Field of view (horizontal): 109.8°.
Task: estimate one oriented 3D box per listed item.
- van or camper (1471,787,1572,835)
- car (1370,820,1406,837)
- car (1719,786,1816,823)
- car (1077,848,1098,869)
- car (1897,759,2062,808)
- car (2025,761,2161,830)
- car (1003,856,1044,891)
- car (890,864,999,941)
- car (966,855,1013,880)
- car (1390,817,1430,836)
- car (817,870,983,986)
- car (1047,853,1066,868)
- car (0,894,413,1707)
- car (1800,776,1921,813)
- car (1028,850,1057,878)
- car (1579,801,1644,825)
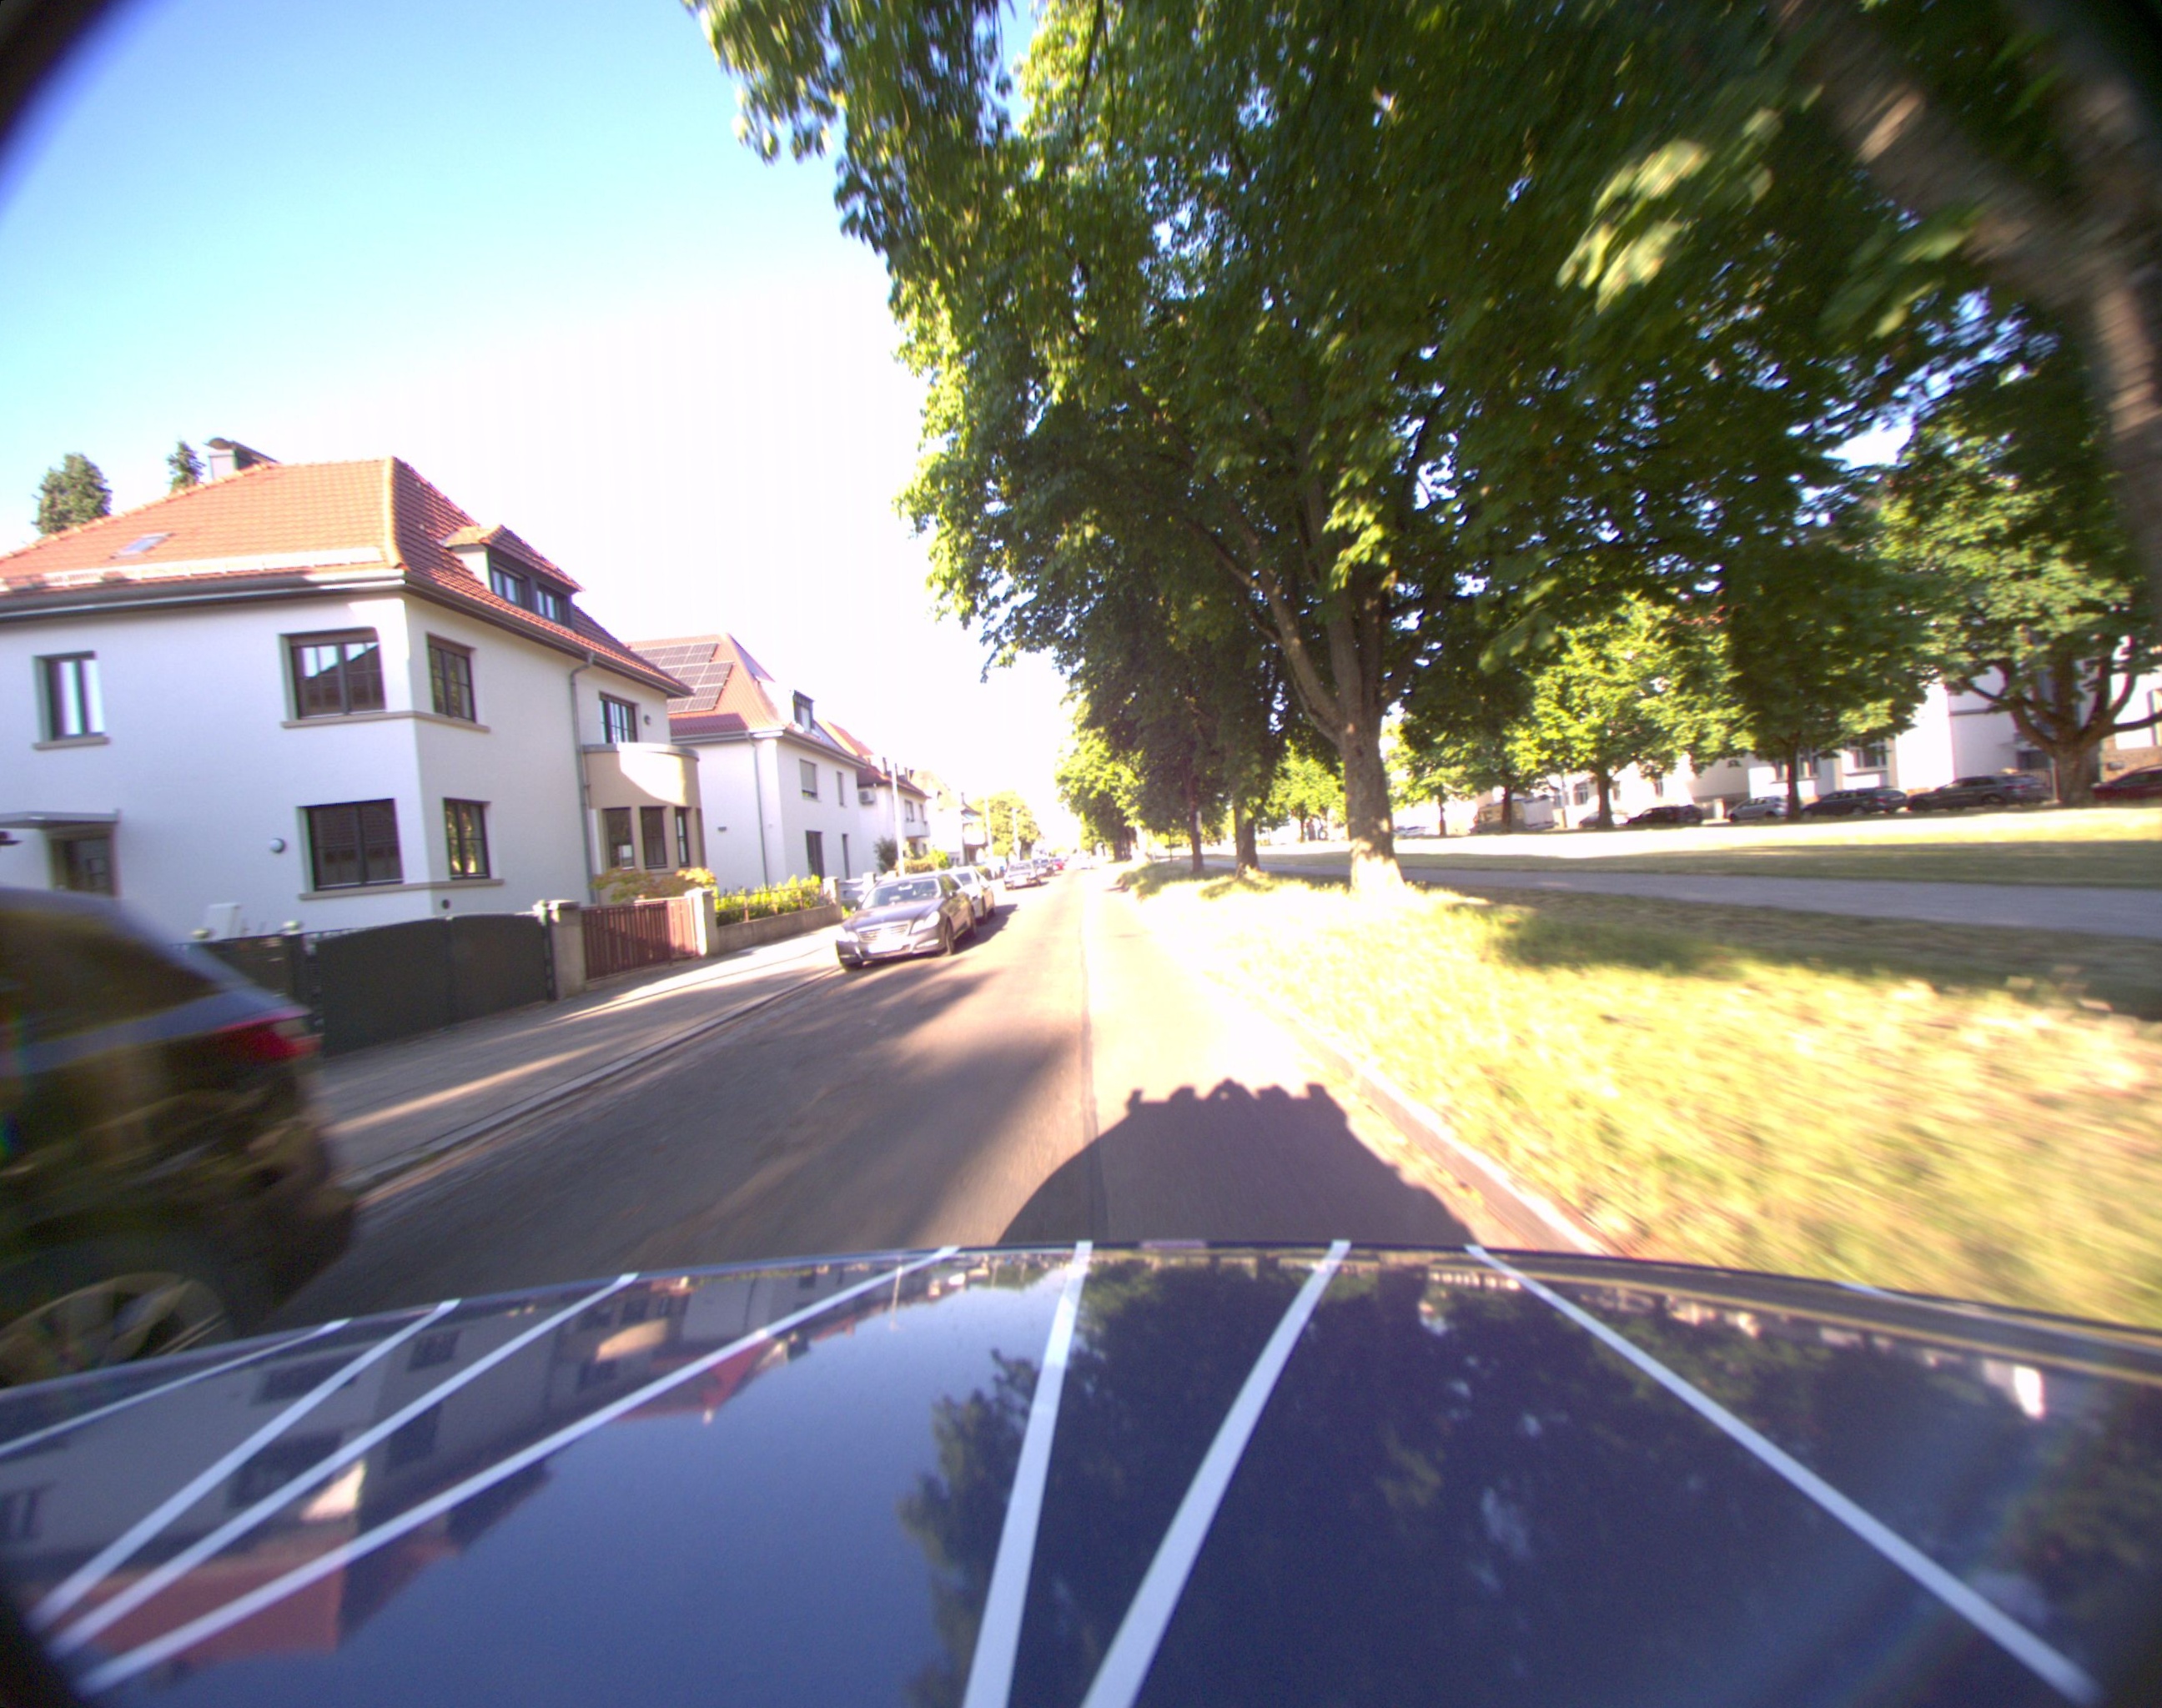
[{"bbox_3d":[34.288,-3.223,59.578,3.262,3.092,7.896,-5,0,1],"label":"van or camper"},{"bbox_3d":[34.401,-2.849,85.235,1.998,1.680,4.875,-5,0,1],"label":"car"},{"bbox_3d":[39.725,-2.838,44.114,1.998,1.724,4.000,-5,0,2],"label":"car"},{"bbox_3d":[0.683,0.425,80.994,1.998,2.002,4.000,-6,0,1],"label":"car"},{"bbox_3d":[39.633,-3.053,33.717,1.999,1.643,4.428,-5,0,-1],"label":"car"},{"bbox_3d":[33.906,-1.904,24.048,1.998,2.002,4.876,-5,0,2],"label":"car"},{"bbox_3d":[-2.981,0.977,40.291,1.784,1.490,4.397,-7,0,-1],"label":"car"},{"bbox_3d":[-3.424,1.154,20.015,1.999,1.455,4.549,-9,0,-2],"label":"car"},{"bbox_3d":[-8.294,1.192,69.365,3.998,1.917,1.999,-5,0,-3],"label":"car"},{"bbox_3d":[34.361,-2.868,79.455,1.998,1.680,4.875,-5,0,1],"label":"car"},{"bbox_3d":[-3.107,1.199,14.093,1.784,1.454,4.593,-8,0,0],"label":"car"},{"bbox_3d":[-2.653,0.673,83.693,1.824,1.486,4.224,-5,0,0],"label":"car"},{"bbox_3d":[-3.384,1.094,0.209,1.999,1.727,4.863,-5,0,-1],"label":"car"},{"bbox_3d":[40.090,-3.016,39.246,1.998,1.421,4.169,-6,0,2],"label":"car"},{"bbox_3d":[-2.873,0.735,57.752,1.863,1.710,4.467,-9,0,-1],"label":"car"},{"bbox_3d":[39.978,-3.073,57.402,1.998,1.455,4.000,-5,0,0],"label":"car"}]
